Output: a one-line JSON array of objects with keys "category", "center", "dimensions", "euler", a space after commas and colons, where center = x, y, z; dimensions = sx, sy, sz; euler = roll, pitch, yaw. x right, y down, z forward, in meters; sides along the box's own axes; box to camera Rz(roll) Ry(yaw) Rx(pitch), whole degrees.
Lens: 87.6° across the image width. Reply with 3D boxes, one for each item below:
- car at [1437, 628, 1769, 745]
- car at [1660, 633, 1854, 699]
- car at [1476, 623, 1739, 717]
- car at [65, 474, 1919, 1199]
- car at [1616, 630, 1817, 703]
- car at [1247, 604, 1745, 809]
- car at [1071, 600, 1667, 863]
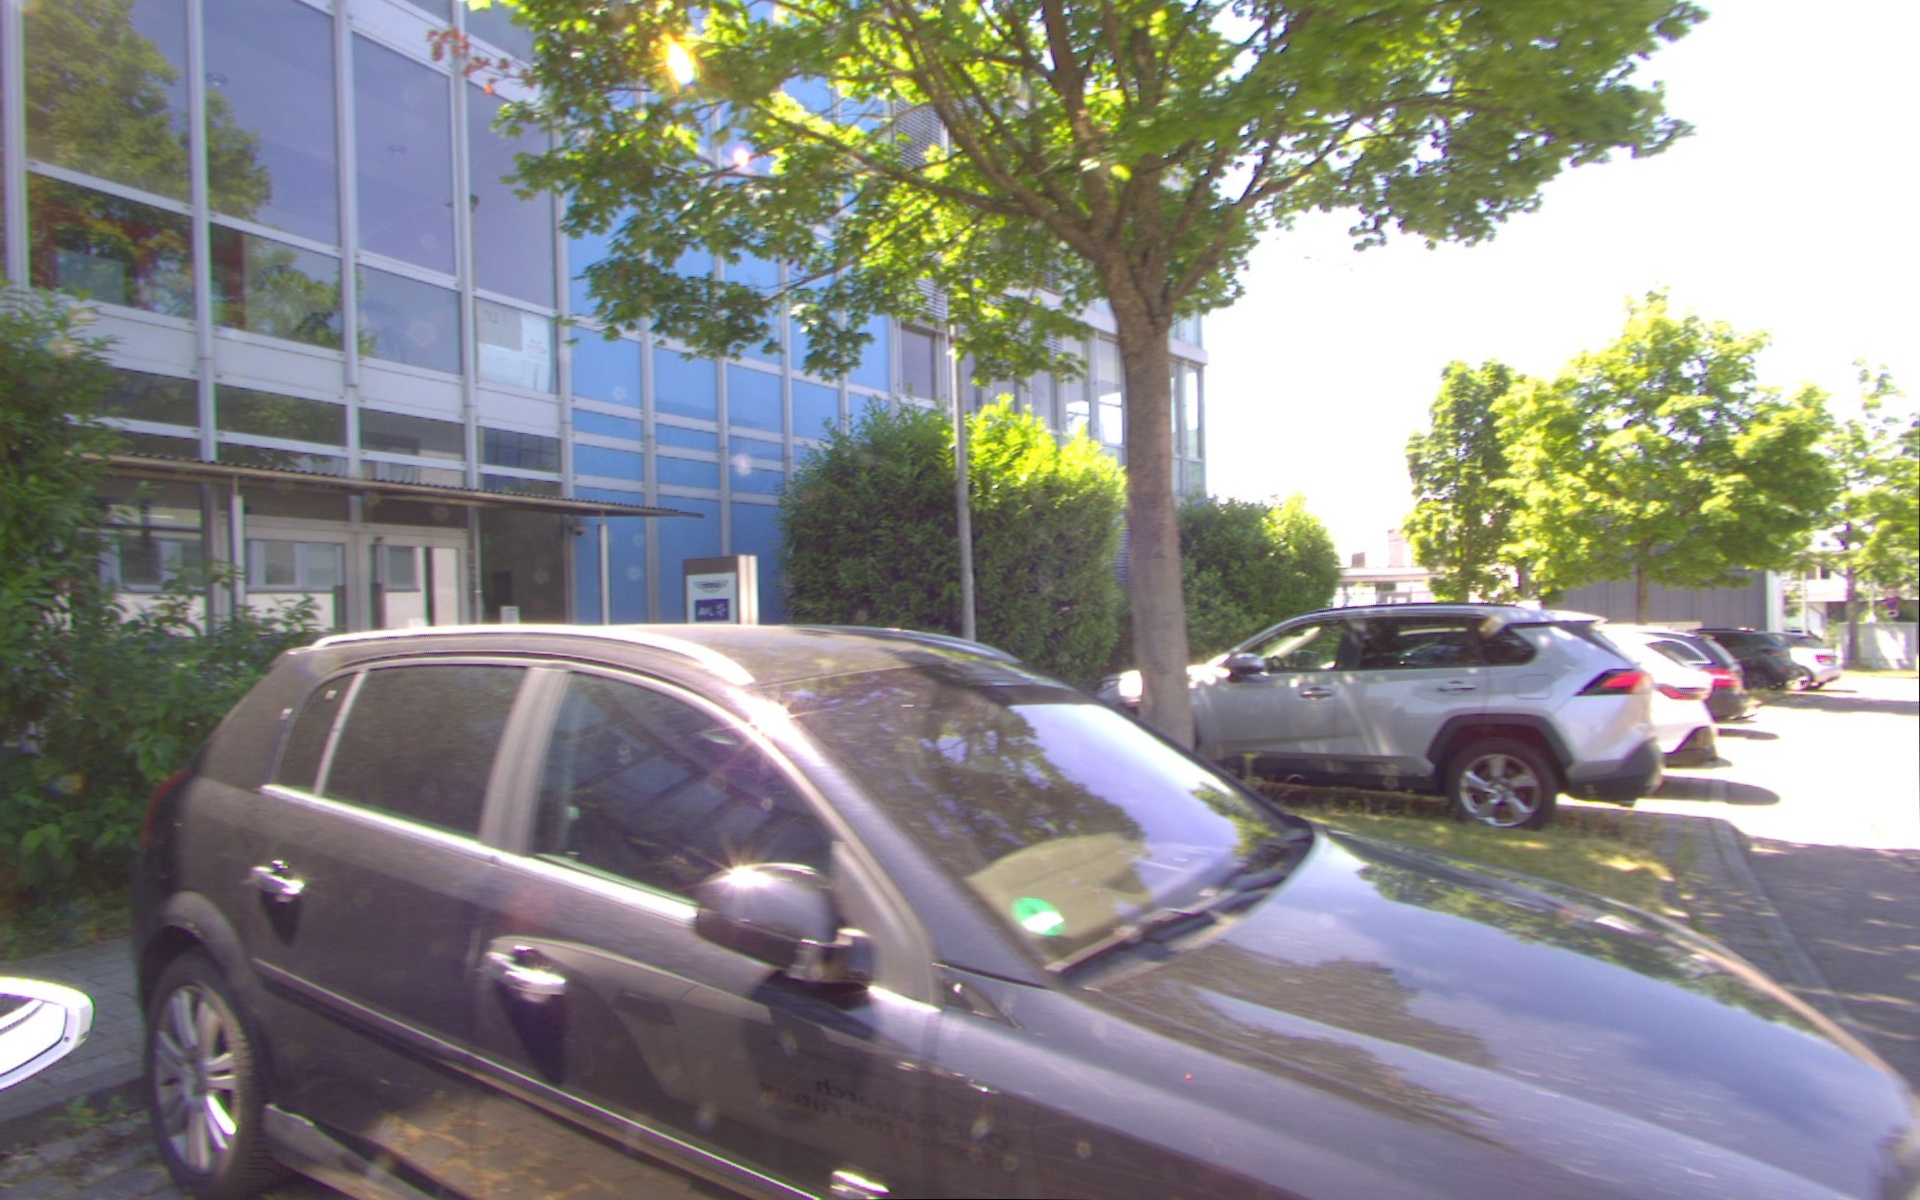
[{"category": "car", "center": [9.831, 1.225, 15.508], "dimensions": [4.131, 1.505, 1.647], "euler": [0, -1, 42]}, {"category": "car", "center": [20.058, 1.608, 25.298], "dimensions": [1.617, 1.462, 3.562], "euler": [2, -1, -38]}, {"category": "car", "center": [12.800, 1.300, 19.996], "dimensions": [1.643, 1.626, 4.140], "euler": [2, -1, -41]}, {"category": "car", "center": [-0.280, 0.740, 2.488], "dimensions": [4.500, 1.569, 1.755], "euler": [-1, -2, 33]}, {"category": "car", "center": [18.069, 1.540, 24.039], "dimensions": [1.617, 1.545, 3.562], "euler": [2, -1, -38]}, {"category": "car", "center": [5.219, 0.906, 10.130], "dimensions": [4.145, 1.664, 1.651], "euler": [0, -1, 35]}, {"category": "car", "center": [3.257, 0.863, 8.378], "dimensions": [4.273, 1.664, 1.847], "euler": [0, -1, 35]}]
